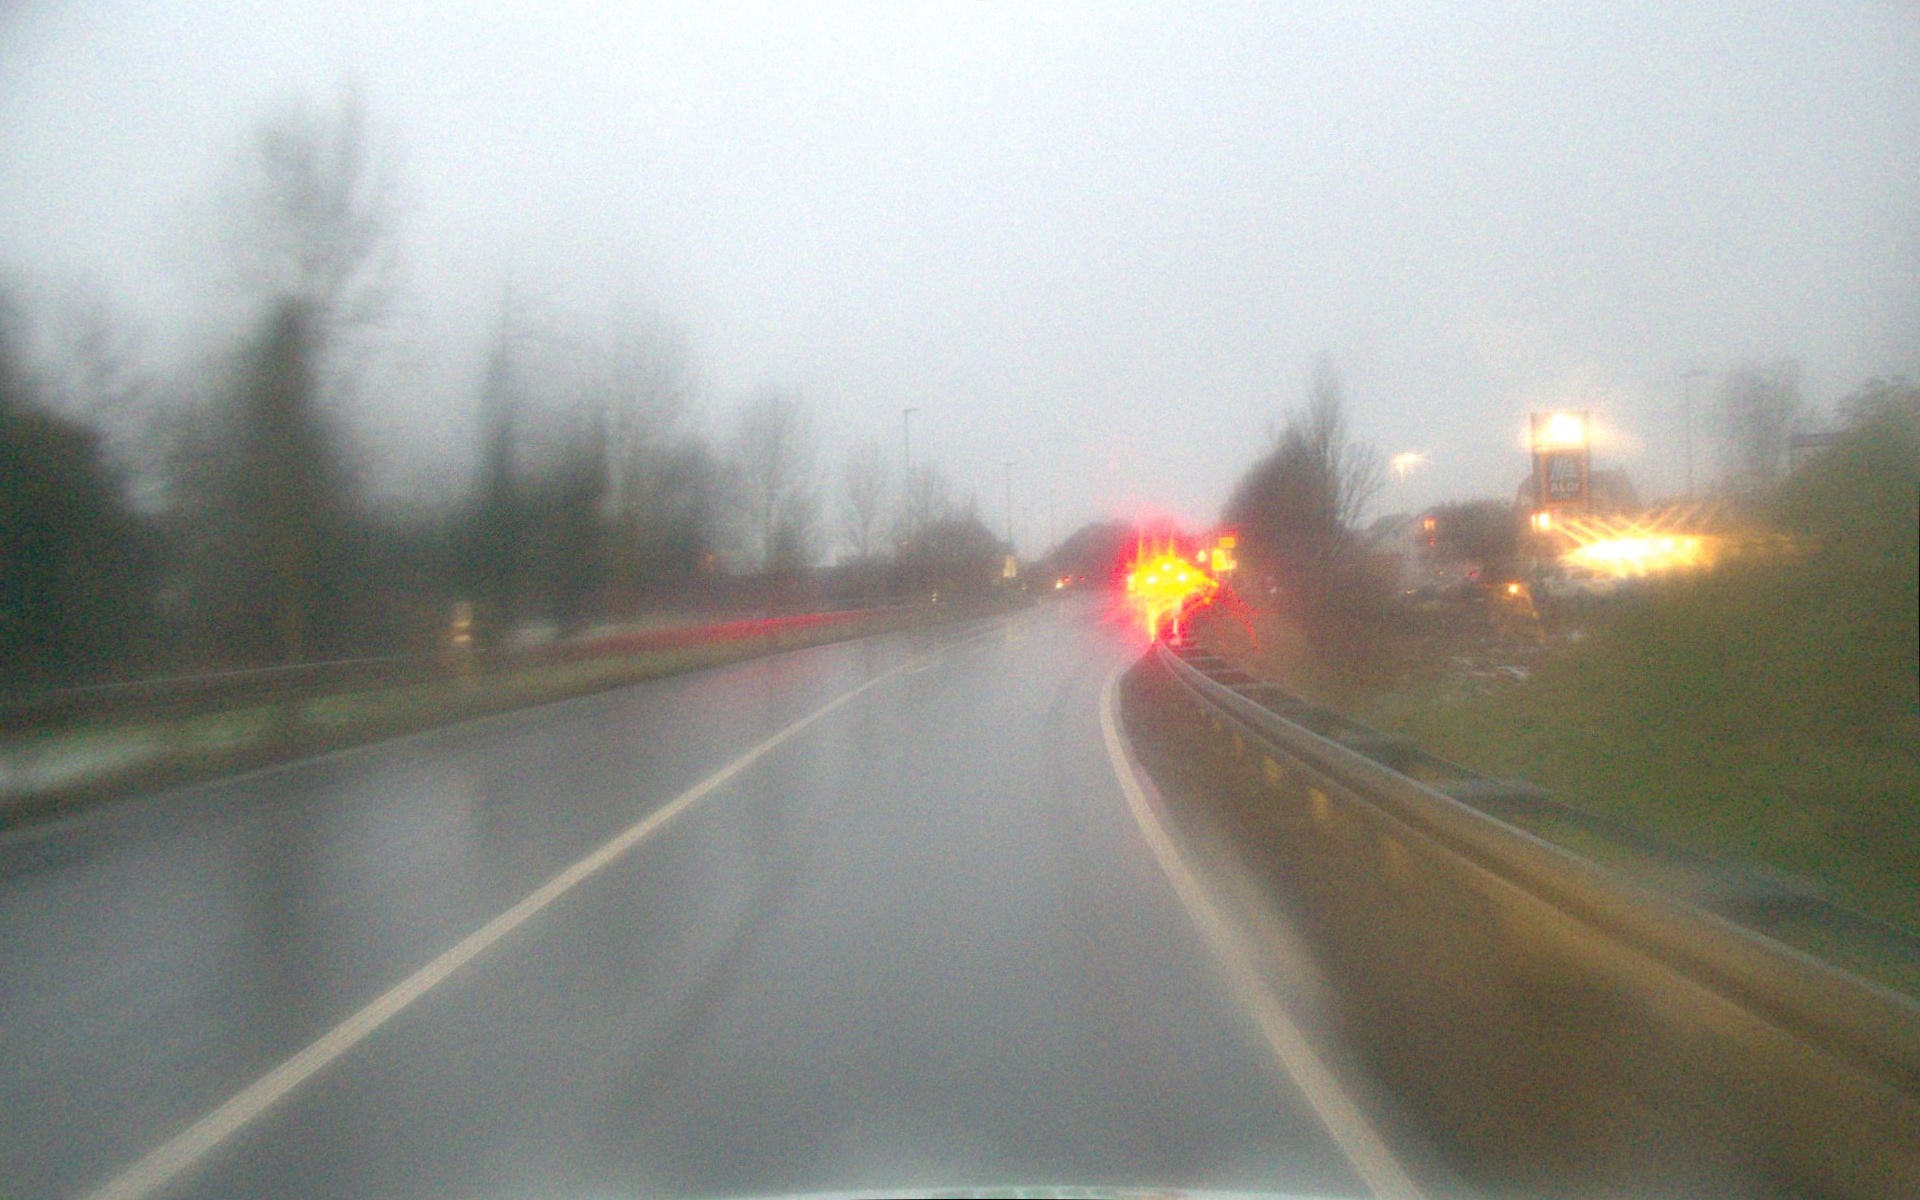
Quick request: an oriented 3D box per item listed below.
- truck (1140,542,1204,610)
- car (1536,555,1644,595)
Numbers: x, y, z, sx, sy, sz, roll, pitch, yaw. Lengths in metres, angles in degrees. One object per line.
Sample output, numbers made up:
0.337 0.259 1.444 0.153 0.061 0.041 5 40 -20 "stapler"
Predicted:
10.238 -1.167 79.376 2.478 2.918 5.928 -4 0 11 "truck"
27.863 -1.096 73.202 4.045 1.447 1.662 -5 0 -2 "car"
